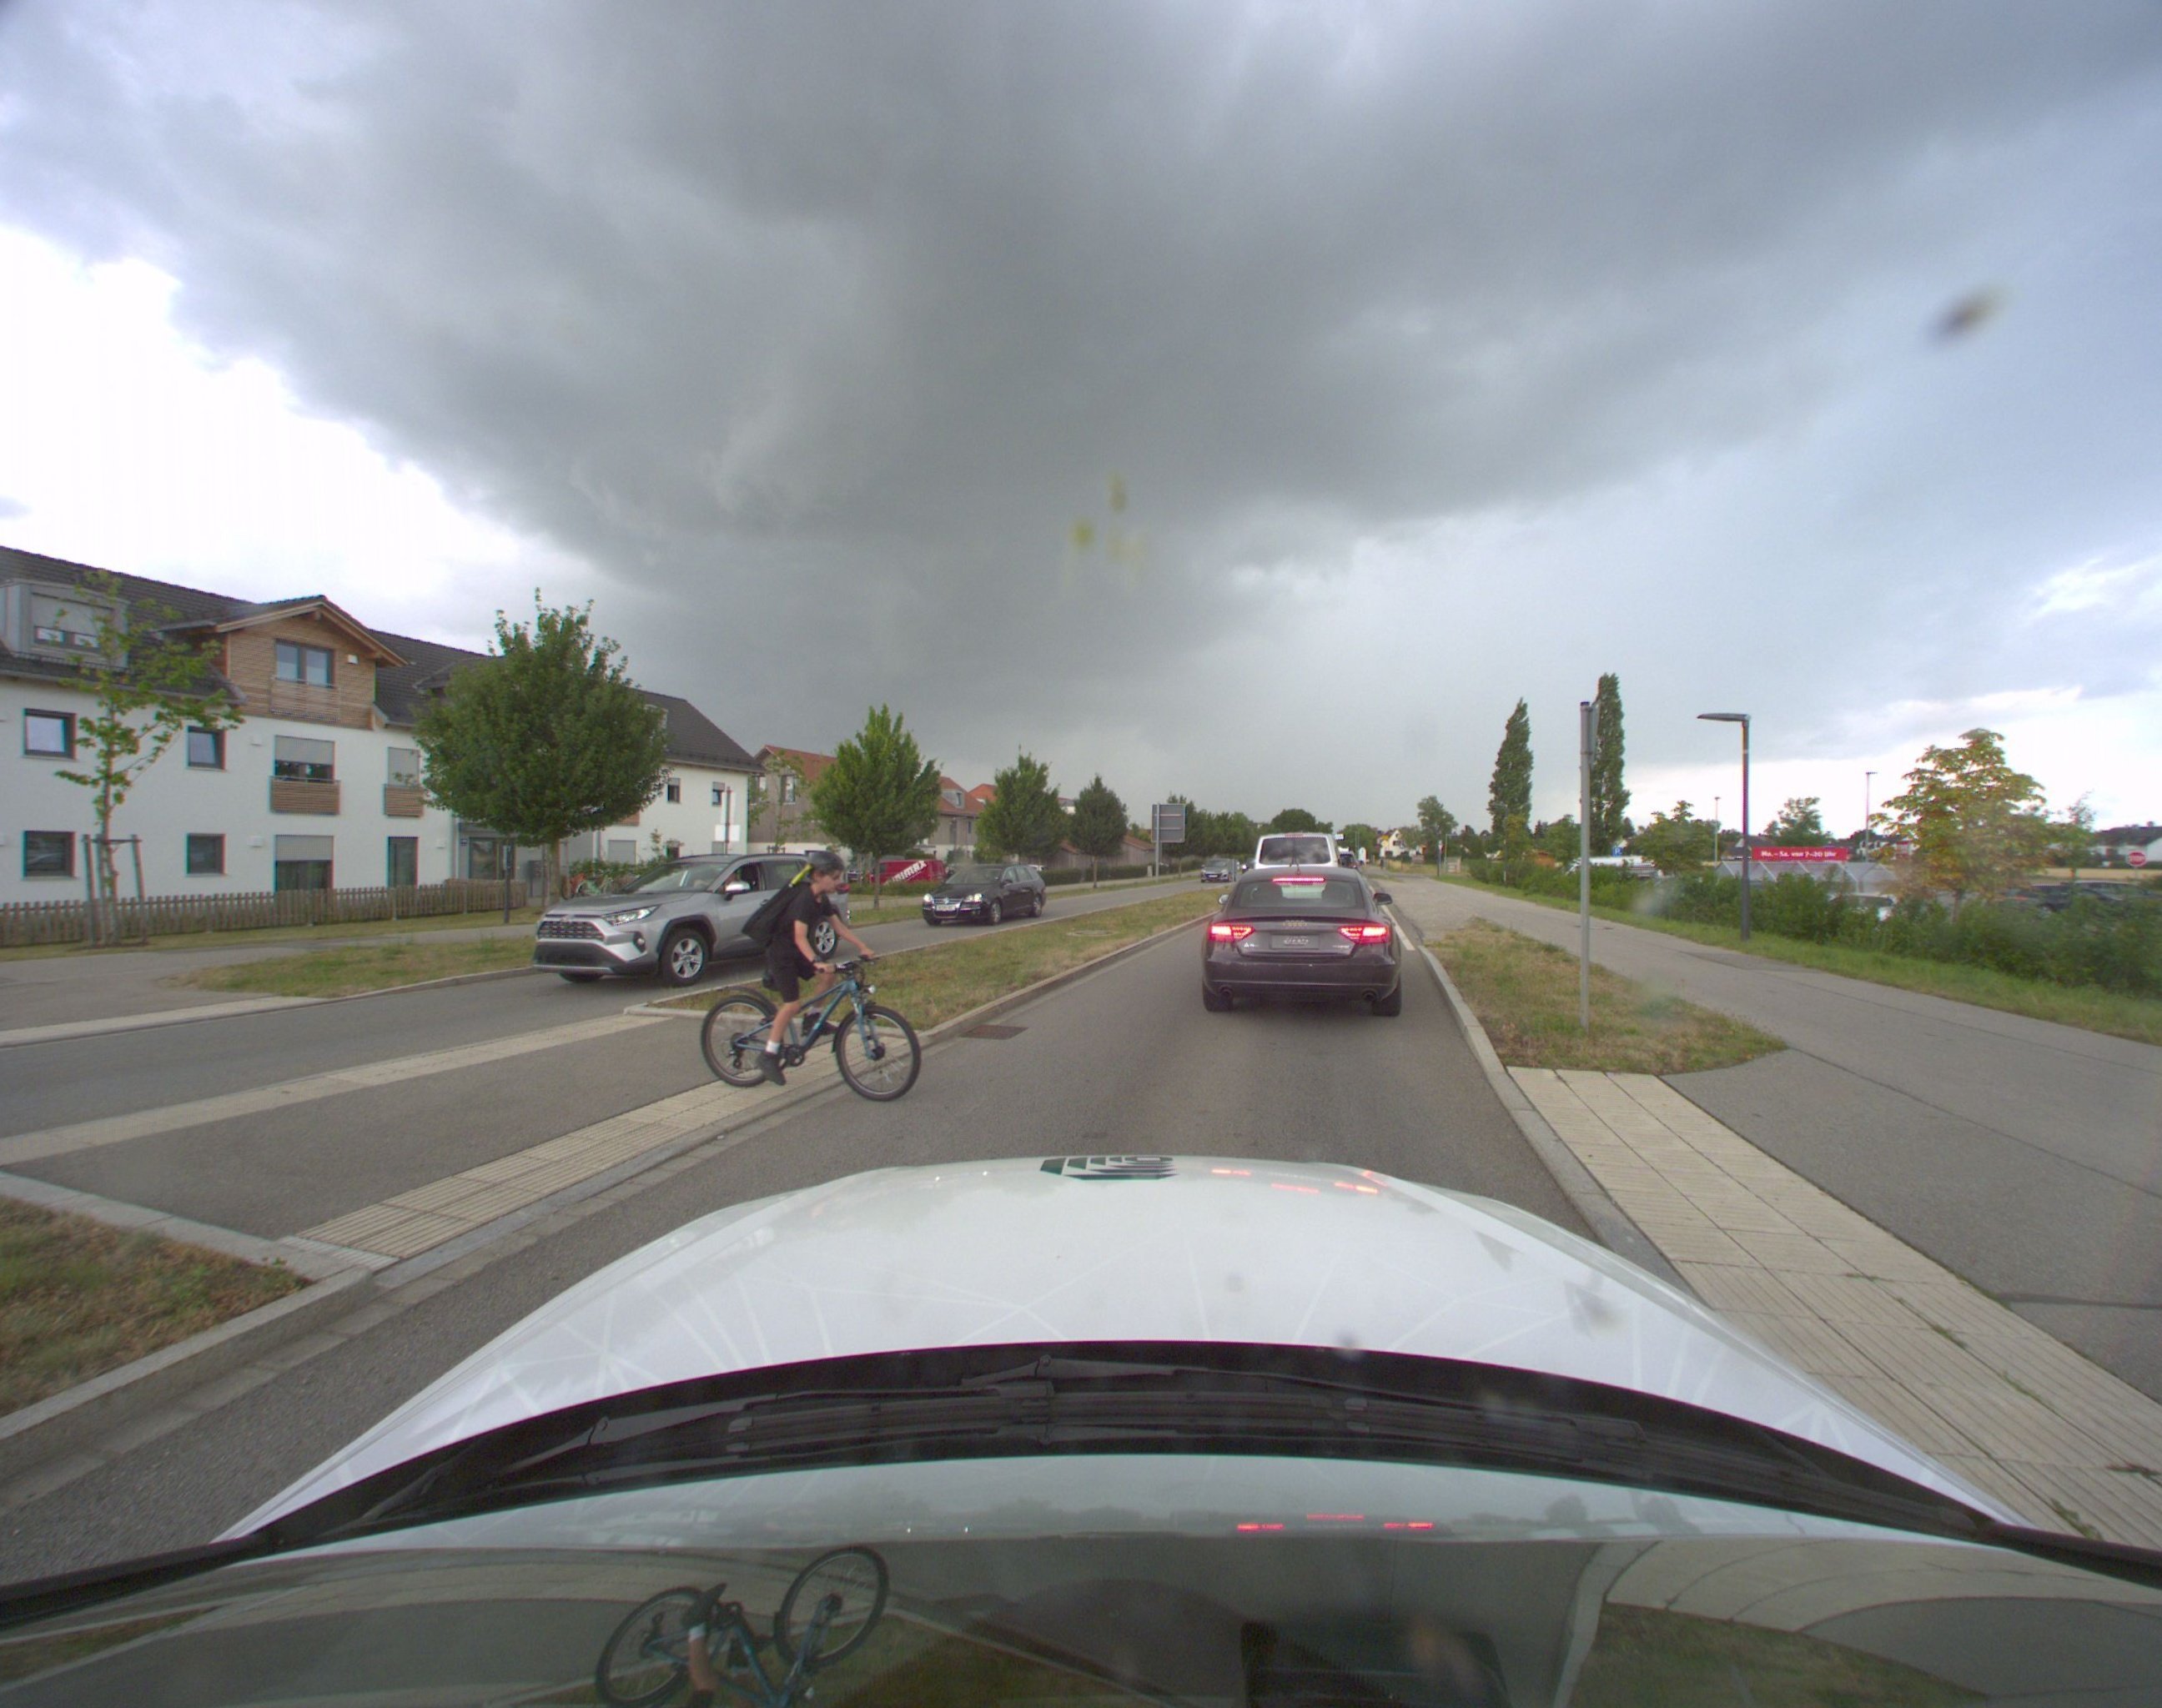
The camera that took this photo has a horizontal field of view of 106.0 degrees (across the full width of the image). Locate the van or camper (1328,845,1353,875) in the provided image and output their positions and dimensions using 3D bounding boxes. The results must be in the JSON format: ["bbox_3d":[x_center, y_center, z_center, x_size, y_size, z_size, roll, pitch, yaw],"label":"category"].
[{"bbox_3d":[29.530,0.721,92.657,2.604,3.324,6.852,1,-1,18],"label":"van or camper"}]

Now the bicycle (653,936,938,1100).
[{"bbox_3d":[-1.839,1.038,5.312,1.698,0.946,0.498,-1,-1,8],"label":"bicycle"}]

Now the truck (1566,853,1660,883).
[{"bbox_3d":[35.002,0.888,53.704,4.762,1.872,2.007,1,-1,14],"label":"truck"}]

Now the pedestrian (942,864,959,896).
[{"bbox_3d":[-6.484,1.286,40.533,0.577,1.559,0.663,0,0,16],"label":"pedestrian"}]

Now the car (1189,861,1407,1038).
[{"bbox_3d":[2.373,0.792,8.826,1.770,1.391,4.150,0,0,16],"label":"car"}]

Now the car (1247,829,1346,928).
[{"bbox_3d":[4.974,0.519,18.659,1.853,1.934,4.017,-3,-1,16],"label":"car"}]

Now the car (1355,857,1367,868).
[{"bbox_3d":[40.539,1.244,117.860,1.600,1.631,3.633,1,0,19],"label":"car"}]

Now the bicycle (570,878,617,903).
[{"bbox_3d":[-17.800,1.314,29.790,0.364,0.843,1.554,3,1,20],"label":"bicycle"}]

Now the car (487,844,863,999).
[{"bbox_3d":[-5.266,0.756,11.434,1.977,1.704,4.657,-1,0,19],"label":"car"}]

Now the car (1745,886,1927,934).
[{"bbox_3d":[26.096,1.911,28.348,4.199,1.440,2.009,0,0,18],"label":"car"}]

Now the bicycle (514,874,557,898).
[{"bbox_3d":[-20.377,1.177,30.465,0.364,0.843,1.344,3,1,20],"label":"bicycle"}]

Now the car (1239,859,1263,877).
[{"bbox_3d":[15.585,1.234,74.487,1.853,1.574,4.017,0,0,17],"label":"car"}]

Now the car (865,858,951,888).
[{"bbox_3d":[-10.034,1.083,47.378,4.491,1.680,2.010,0,0,21],"label":"car"}]

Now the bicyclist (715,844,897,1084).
[{"bbox_3d":[-1.767,0.670,5.321,0.861,1.446,0.726,-1,0,9],"label":"bicyclist"}]

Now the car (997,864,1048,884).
[{"bbox_3d":[-4.665,1.557,64.827,3.702,1.482,1.693,1,0,15],"label":"car"}]

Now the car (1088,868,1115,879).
[{"bbox_3d":[1.982,1.917,78.786,2.455,1.028,1.189,0,0,12],"label":"car"}]

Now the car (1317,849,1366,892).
[{"bbox_3d":[10.417,0.626,32.596,1.762,1.618,4.018,0,0,18],"label":"car"}]

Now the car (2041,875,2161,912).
[{"bbox_3d":[48.364,1.832,38.045,4.277,1.578,1.776,0,0,20],"label":"car"}]

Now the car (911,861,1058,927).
[{"bbox_3d":[-2.251,0.914,20.324,1.738,1.416,4.478,-1,0,21],"label":"car"}]

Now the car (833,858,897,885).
[{"bbox_3d":[-14.986,1.205,56.724,1.976,1.772,4.490,0,-1,23],"label":"car"}]

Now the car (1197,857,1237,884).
[{"bbox_3d":[8.513,0.977,50.849,1.716,1.409,4.226,4,2,19],"label":"car"}]

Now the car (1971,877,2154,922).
[{"bbox_3d":[40.834,1.862,34.021,4.520,1.664,2.009,0,0,18],"label":"car"}]

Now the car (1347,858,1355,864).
[{"bbox_3d":[60.859,1.648,183.628,1.600,1.272,3.478,1,0,19],"label":"car"}]

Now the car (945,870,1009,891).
[{"bbox_3d":[-7.112,1.761,55.595,3.885,1.315,1.850,1,0,16],"label":"car"}]

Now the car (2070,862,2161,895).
[{"bbox_3d":[66.264,1.555,51.655,3.953,1.837,2.011,3,1,22],"label":"car"}]
